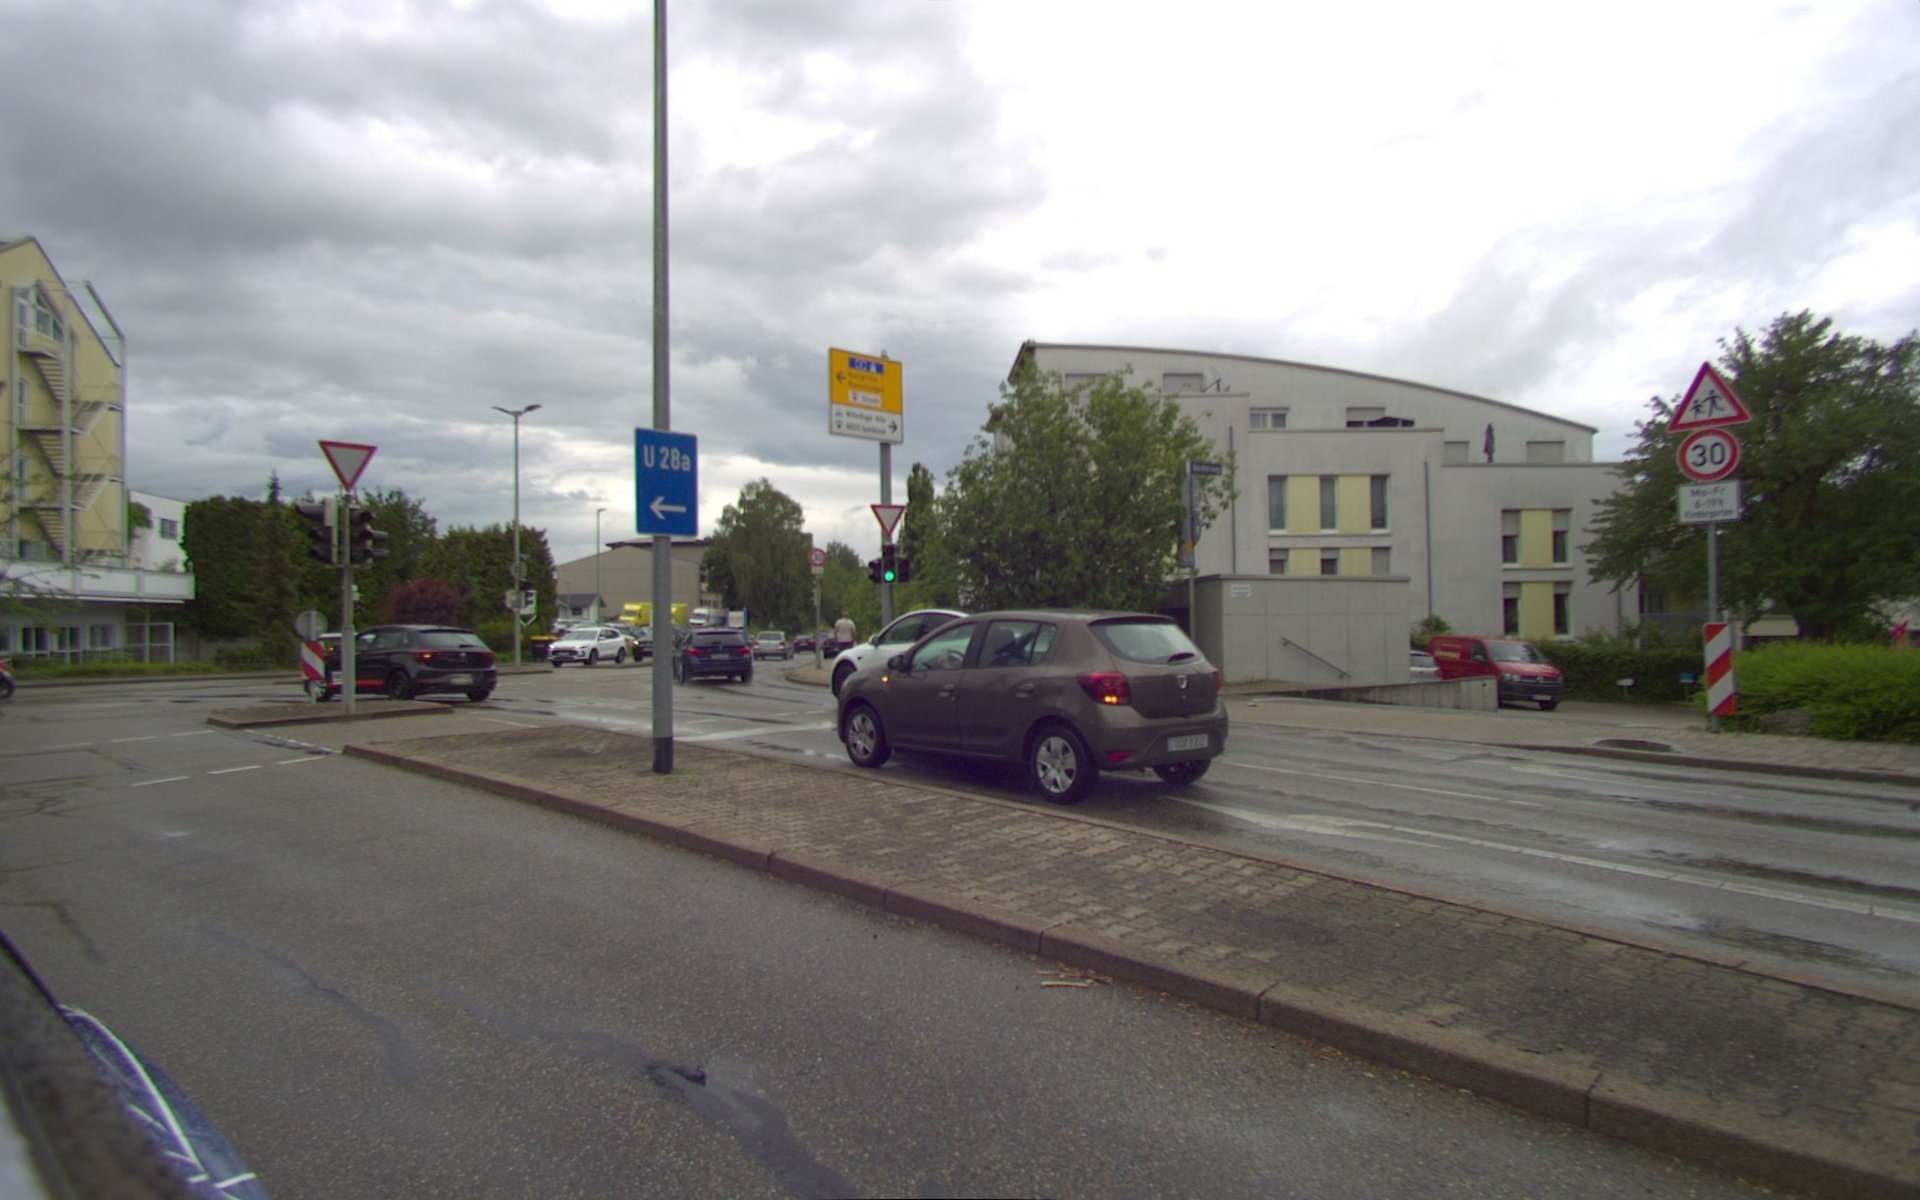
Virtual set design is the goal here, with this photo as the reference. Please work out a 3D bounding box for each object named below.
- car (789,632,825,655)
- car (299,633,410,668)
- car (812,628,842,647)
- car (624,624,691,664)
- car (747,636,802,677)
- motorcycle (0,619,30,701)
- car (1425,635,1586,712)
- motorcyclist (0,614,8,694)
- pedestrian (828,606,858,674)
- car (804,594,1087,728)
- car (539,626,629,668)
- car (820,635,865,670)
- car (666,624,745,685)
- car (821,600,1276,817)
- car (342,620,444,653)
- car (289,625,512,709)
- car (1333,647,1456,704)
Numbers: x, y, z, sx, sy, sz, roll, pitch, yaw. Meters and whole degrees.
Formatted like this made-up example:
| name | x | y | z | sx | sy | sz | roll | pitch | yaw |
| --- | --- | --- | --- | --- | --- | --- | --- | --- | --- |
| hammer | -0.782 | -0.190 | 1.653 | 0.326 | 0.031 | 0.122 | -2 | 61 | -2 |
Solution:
| name | x | y | z | sx | sy | sz | roll | pitch | yaw |
| --- | --- | --- | --- | --- | --- | --- | --- | --- | --- |
| car | -10.849 | 3.110 | 71.982 | 1.972 | 1.564 | 3.999 | -1 | -2 | 0 |
| car | -27.091 | 2.228 | 45.323 | 3.954 | 1.475 | 1.995 | 0 | -1 | 9 |
| car | -11.341 | 3.175 | 86.422 | 1.973 | 1.567 | 3.998 | -2 | -1 | 1 |
| car | -15.122 | 2.179 | 50.806 | 1.974 | 1.829 | 3.995 | -1 | -1 | 4 |
| car | -9.253 | 2.793 | 50.800 | 1.973 | 1.682 | 3.999 | -1 | 2 | 1 |
| motorcycle | -19.996 | 1.186 | 20.252 | 1.891 | 1.637 | 0.799 | 1 | -1 | -9 |
| car | 15.773 | 2.052 | 29.605 | 2.005 | 2.029 | 4.657 | 1 | -2 | -3 |
| motorcyclist | -19.911 | 1.090 | 20.272 | 0.924 | 1.637 | 0.774 | 1 | -1 | -8 |
| pedestrian | -3.588 | 1.209 | 30.948 | 0.836 | 2.029 | 0.803 | -1 | -2 | -8 |
| car | -0.382 | 0.849 | 15.926 | 1.924 | 1.738 | 4.608 | -2 | 0 | -40 |
| car | -16.032 | 1.978 | 43.365 | 1.976 | 1.652 | 3.991 | 0 | -1 | 7 |
| car | -5.941 | 2.634 | 51.475 | 1.971 | 1.567 | 4.002 | -2 | -1 | -2 |
| car | -6.857 | 1.429 | 26.973 | 1.730 | 1.446 | 4.365 | -1 | -2 | -18 |
| car | 0.599 | 0.791 | 9.101 | 1.800 | 1.498 | 3.943 | 2 | -2 | -41 |
| car | -26.733 | 1.729 | 47.754 | 3.952 | 1.404 | 1.729 | -1 | 2 | 7 |
| car | -10.504 | 1.196 | 18.930 | 4.187 | 1.419 | 1.803 | -2 | -2 | 31 |
| car | 12.836 | 2.201 | 30.167 | 1.834 | 1.513 | 3.837 | 1 | -2 | -3 |
